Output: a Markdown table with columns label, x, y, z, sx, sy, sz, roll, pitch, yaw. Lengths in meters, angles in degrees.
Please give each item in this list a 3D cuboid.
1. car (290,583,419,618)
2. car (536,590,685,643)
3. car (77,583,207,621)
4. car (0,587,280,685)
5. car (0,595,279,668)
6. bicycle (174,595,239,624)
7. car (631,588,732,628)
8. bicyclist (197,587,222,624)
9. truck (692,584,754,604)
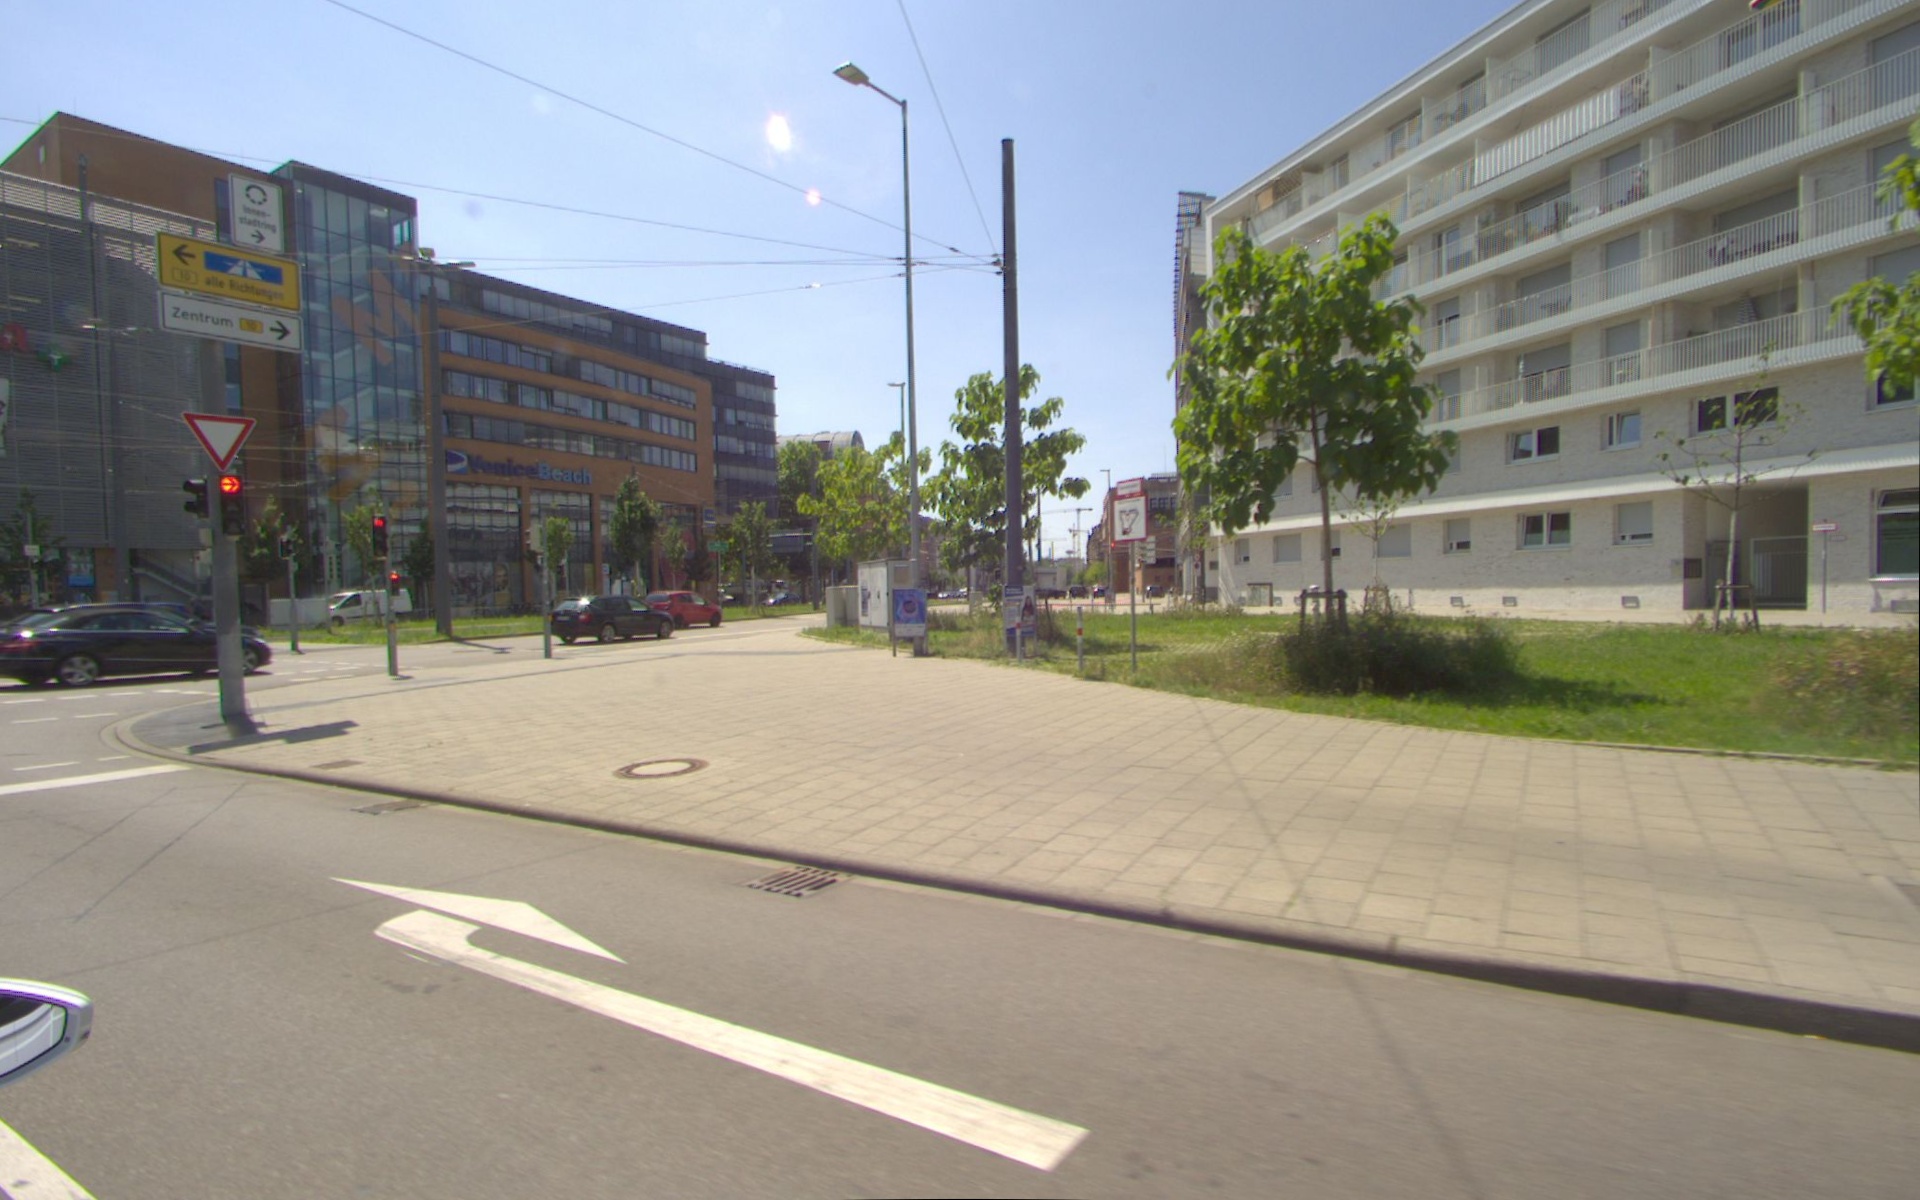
| label | x | y | z | sx | sy | sz | roll | pitch | yaw |
| --- | --- | --- | --- | --- | --- | --- | --- | --- | --- |
| car | -31.022 | 0.039 | 51.491 | 1.968 | 1.690 | 5.459 | 0 | 0 | 27 |
| car | -11.046 | 0.464 | 32.005 | 1.813 | 1.528 | 4.523 | 0 | 2 | 26 |
| car | -35.357 | 0.095 | 43.373 | 1.853 | 1.559 | 3.980 | 1 | 0 | 31 |
| car | -16.272 | 0.597 | 19.537 | 1.969 | 1.598 | 4.543 | 0 | 2 | 28 |
| car | -18.593 | 0.638 | 22.827 | 1.859 | 1.480 | 4.758 | 0 | 0 | 30 |
| bicycle | -42.442 | 0.507 | 56.424 | 0.695 | 1.578 | 2.840 | 1 | 1 | 35 |
| car | -11.159 | 0.290 | 40.371 | 1.811 | 1.528 | 4.128 | 0 | 0 | 22 |
| bicyclist | -42.347 | 0.313 | 56.497 | 0.738 | 2.041 | 0.909 | 1 | 1 | 35 |
| truck | -35.492 | -0.880 | 149.884 | 9.066 | 2.846 | 1.998 | 0 | 1 | 13 |
